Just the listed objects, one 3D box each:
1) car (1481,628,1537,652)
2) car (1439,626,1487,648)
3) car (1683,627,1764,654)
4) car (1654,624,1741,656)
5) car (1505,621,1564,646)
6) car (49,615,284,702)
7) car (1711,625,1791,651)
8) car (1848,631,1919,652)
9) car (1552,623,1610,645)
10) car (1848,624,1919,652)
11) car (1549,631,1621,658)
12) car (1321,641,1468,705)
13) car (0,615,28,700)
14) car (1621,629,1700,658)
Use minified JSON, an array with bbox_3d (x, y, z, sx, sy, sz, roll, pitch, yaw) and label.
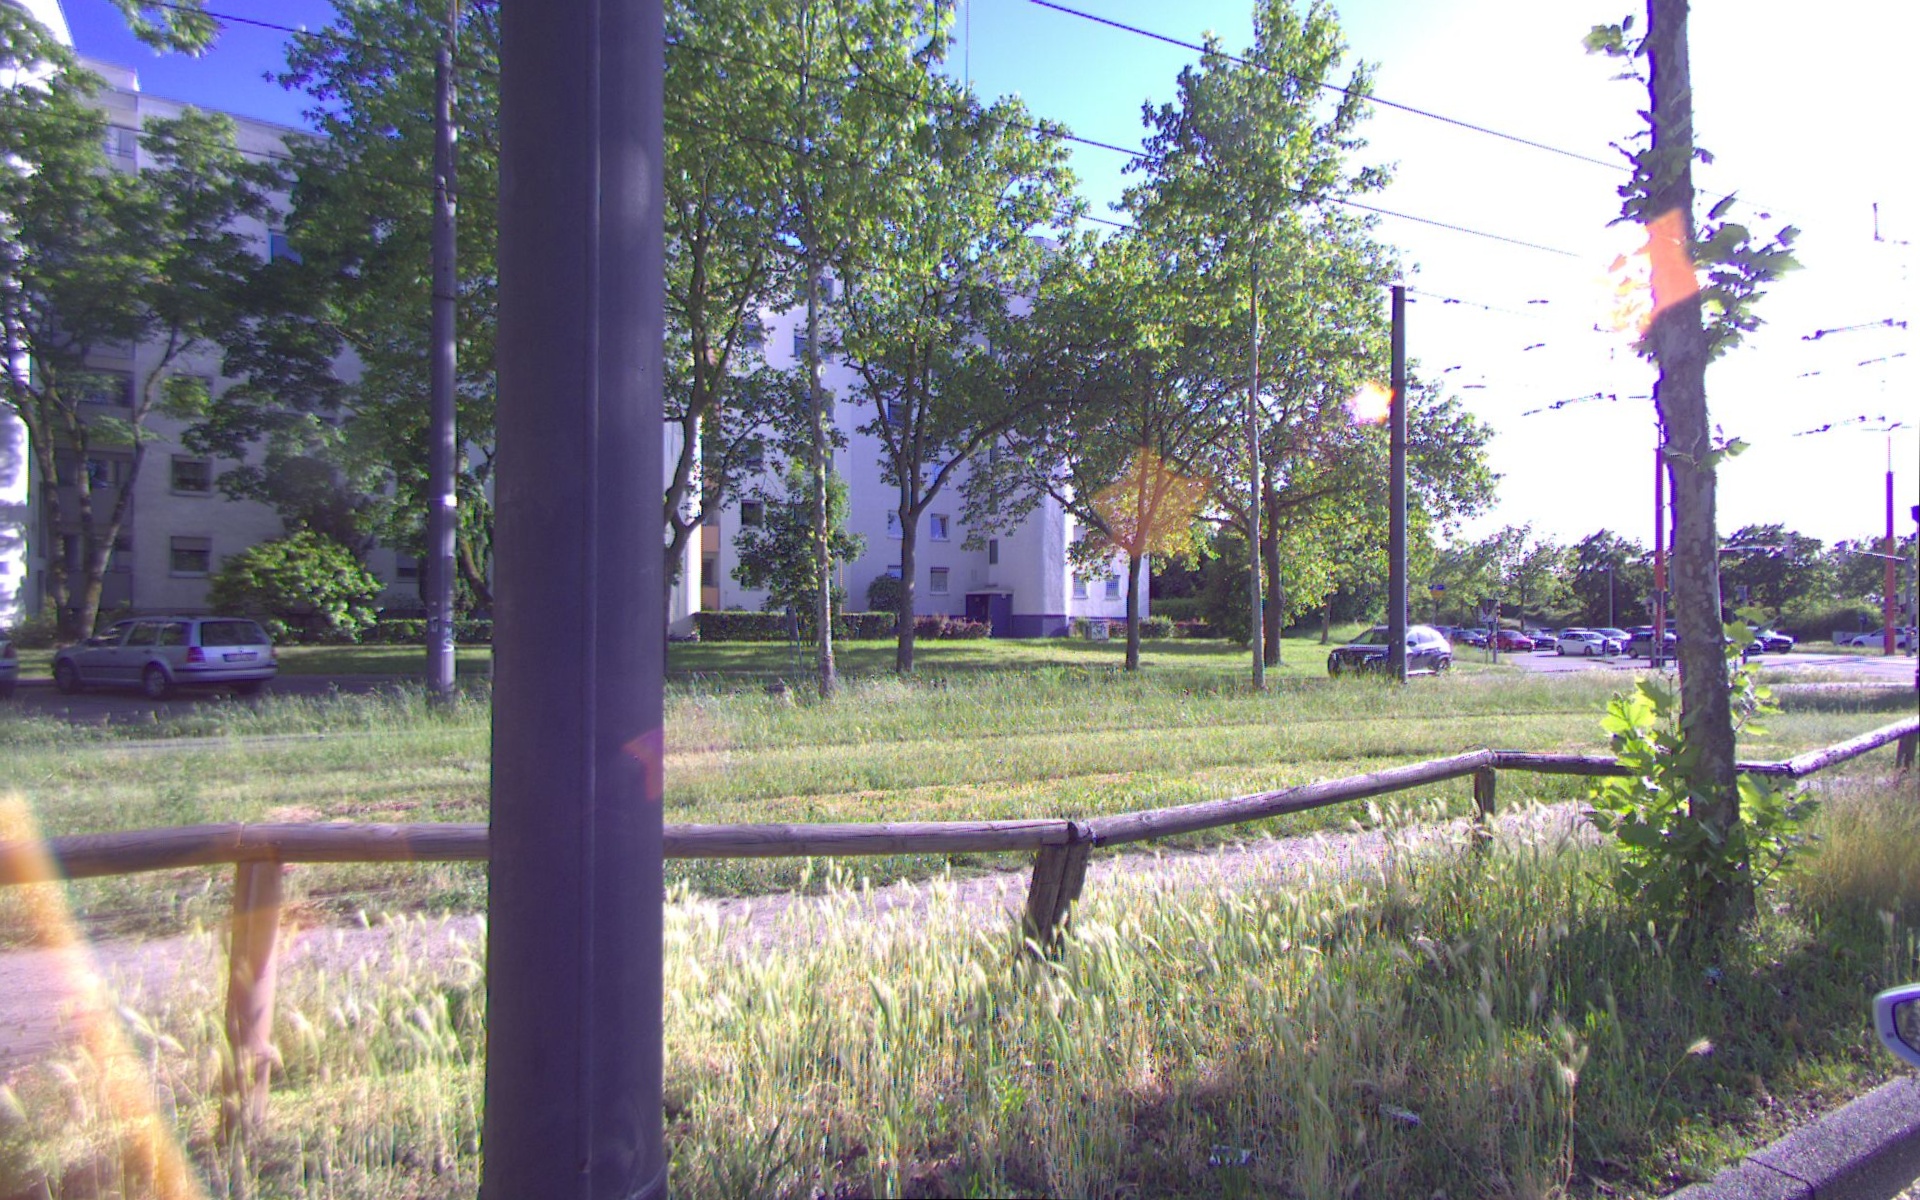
[{"bbox_3d":[38.443,2.777,70.447,1.624,1.540,4.200,1,-1,1],"label":"car"},{"bbox_3d":[38.655,2.817,77.250,1.624,1.540,4.200,1,-1,1],"label":"car"},{"bbox_3d":[45.570,2.392,60.059,1.513,1.434,4.154,1,-1,-3],"label":"car"},{"bbox_3d":[42.397,2.284,57.873,1.624,1.669,4.644,1,-1,1],"label":"car"},{"bbox_3d":[42.264,2.432,74.066,1.721,1.669,4.644,1,-1,1],"label":"car"},{"bbox_3d":[-14.538,1.012,18.422,3.830,1.421,1.581,1,0,20],"label":"car"},{"bbox_3d":[48.648,2.321,61.892,1.513,1.434,4.154,1,-1,-3],"label":"car"},{"bbox_3d":[68.450,3.072,74.169,1.629,1.421,4.120,1,-1,-14],"label":"car"},{"bbox_3d":[45.297,2.458,73.326,1.513,1.434,4.154,1,-1,-3],"label":"car"},{"bbox_3d":[59.781,2.427,64.294,1.625,1.647,4.673,1,-1,-3],"label":"car"},{"bbox_3d":[38.912,2.754,62.639,1.624,1.540,4.638,1,-1,1],"label":"car"},{"bbox_3d":[12.441,2.029,28.696,4.243,1.640,1.644,1,-1,-30],"label":"car"},{"bbox_3d":[-17.987,0.949,17.147,3.567,1.421,1.581,1,0,20],"label":"car"},{"bbox_3d":[38.973,2.403,55.986,1.624,1.460,3.841,1,-1,-2],"label":"car"}]
